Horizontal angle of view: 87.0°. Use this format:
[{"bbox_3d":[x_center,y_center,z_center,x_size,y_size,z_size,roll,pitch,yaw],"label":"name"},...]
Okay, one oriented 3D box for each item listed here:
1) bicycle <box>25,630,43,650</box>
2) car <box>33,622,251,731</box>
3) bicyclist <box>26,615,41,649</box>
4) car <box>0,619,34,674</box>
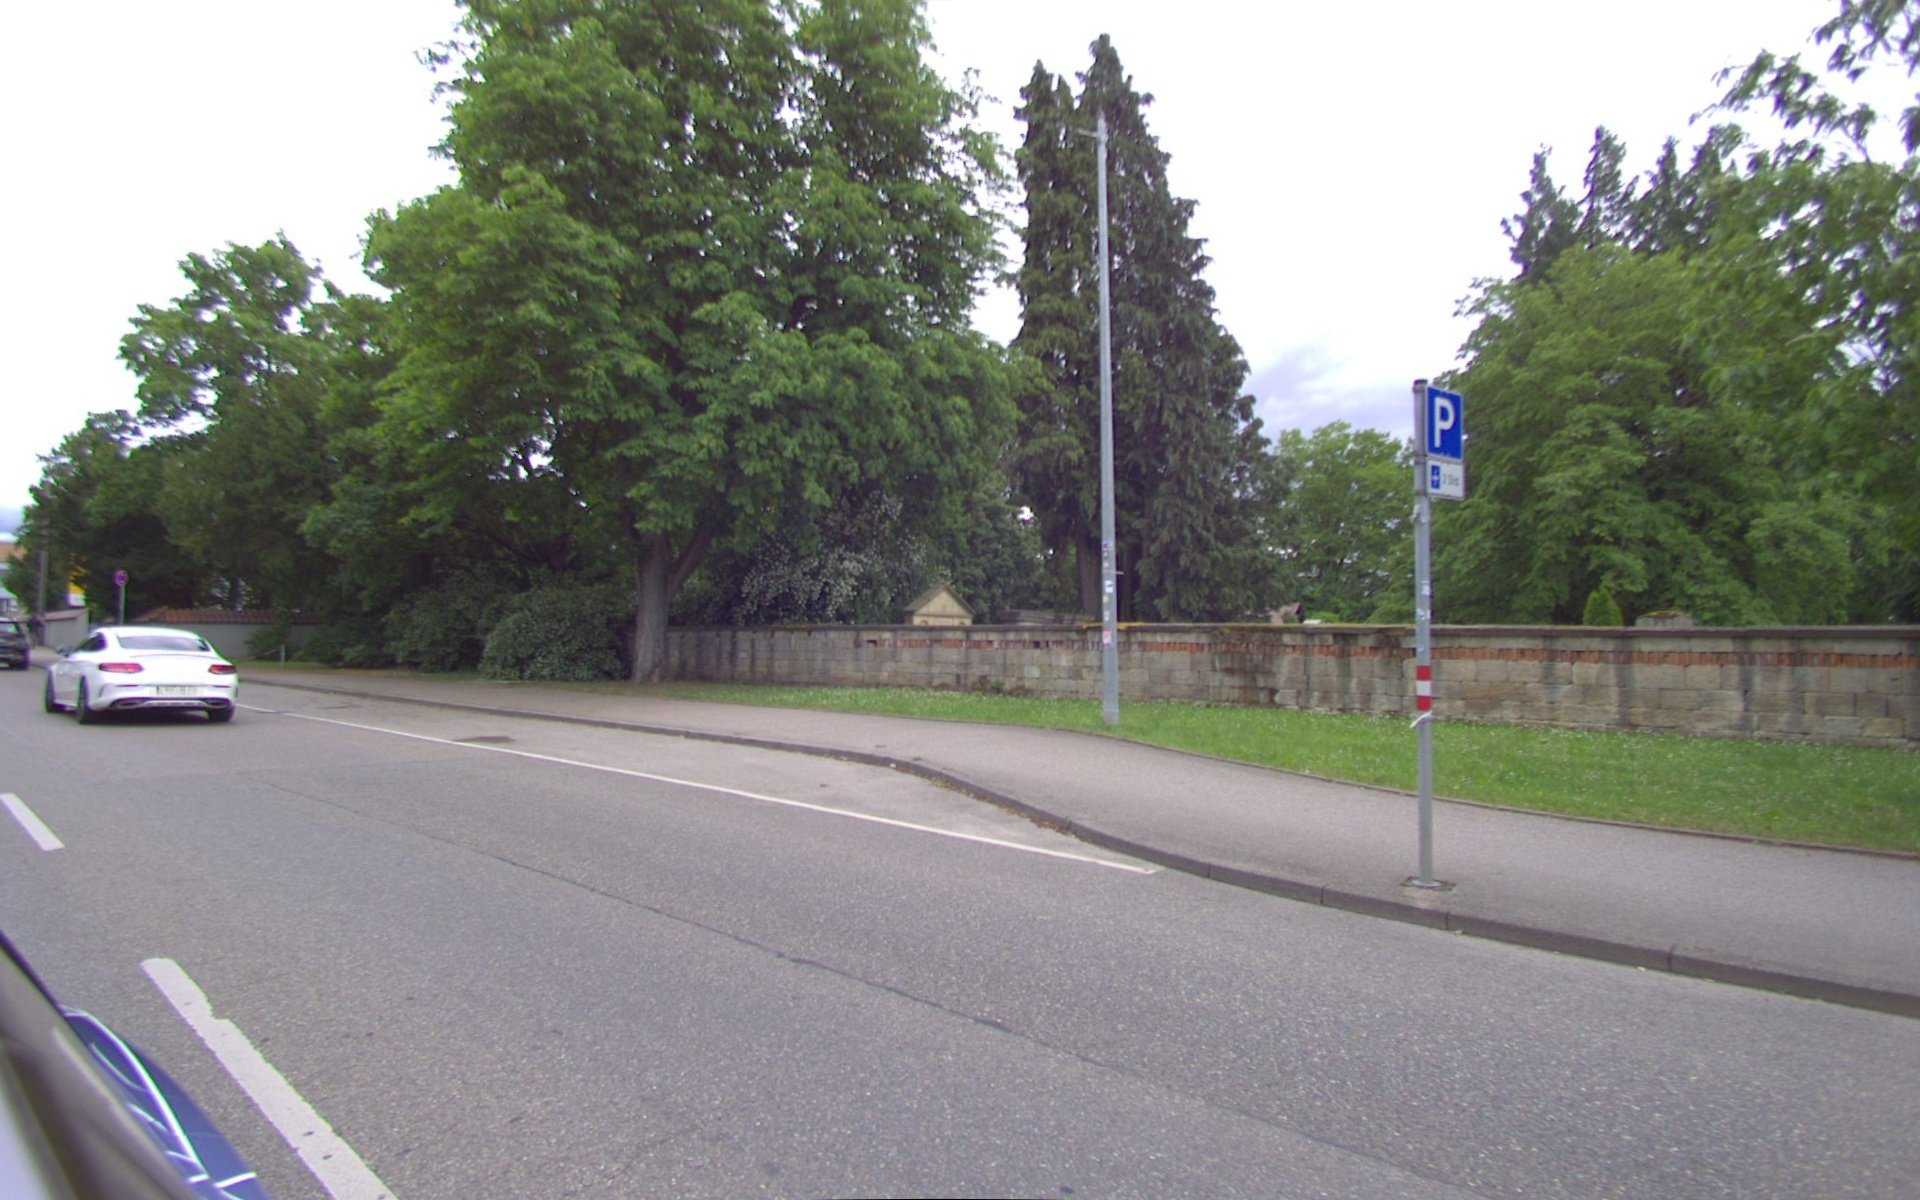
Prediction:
[{"bbox_3d":[-48.142,2.088,52.598,1.748,0.971,0.490,-1,1,42],"label":"bicycle"},{"bbox_3d":[-12.783,1.121,15.704,4.827,1.430,1.795,-1,-5,42],"label":"car"},{"bbox_3d":[-48.075,1.654,52.518,0.588,1.697,0.482,-1,1,42],"label":"bicyclist"},{"bbox_3d":[-31.208,1.440,32.362,4.126,1.657,1.860,-1,-4,42],"label":"car"}]
